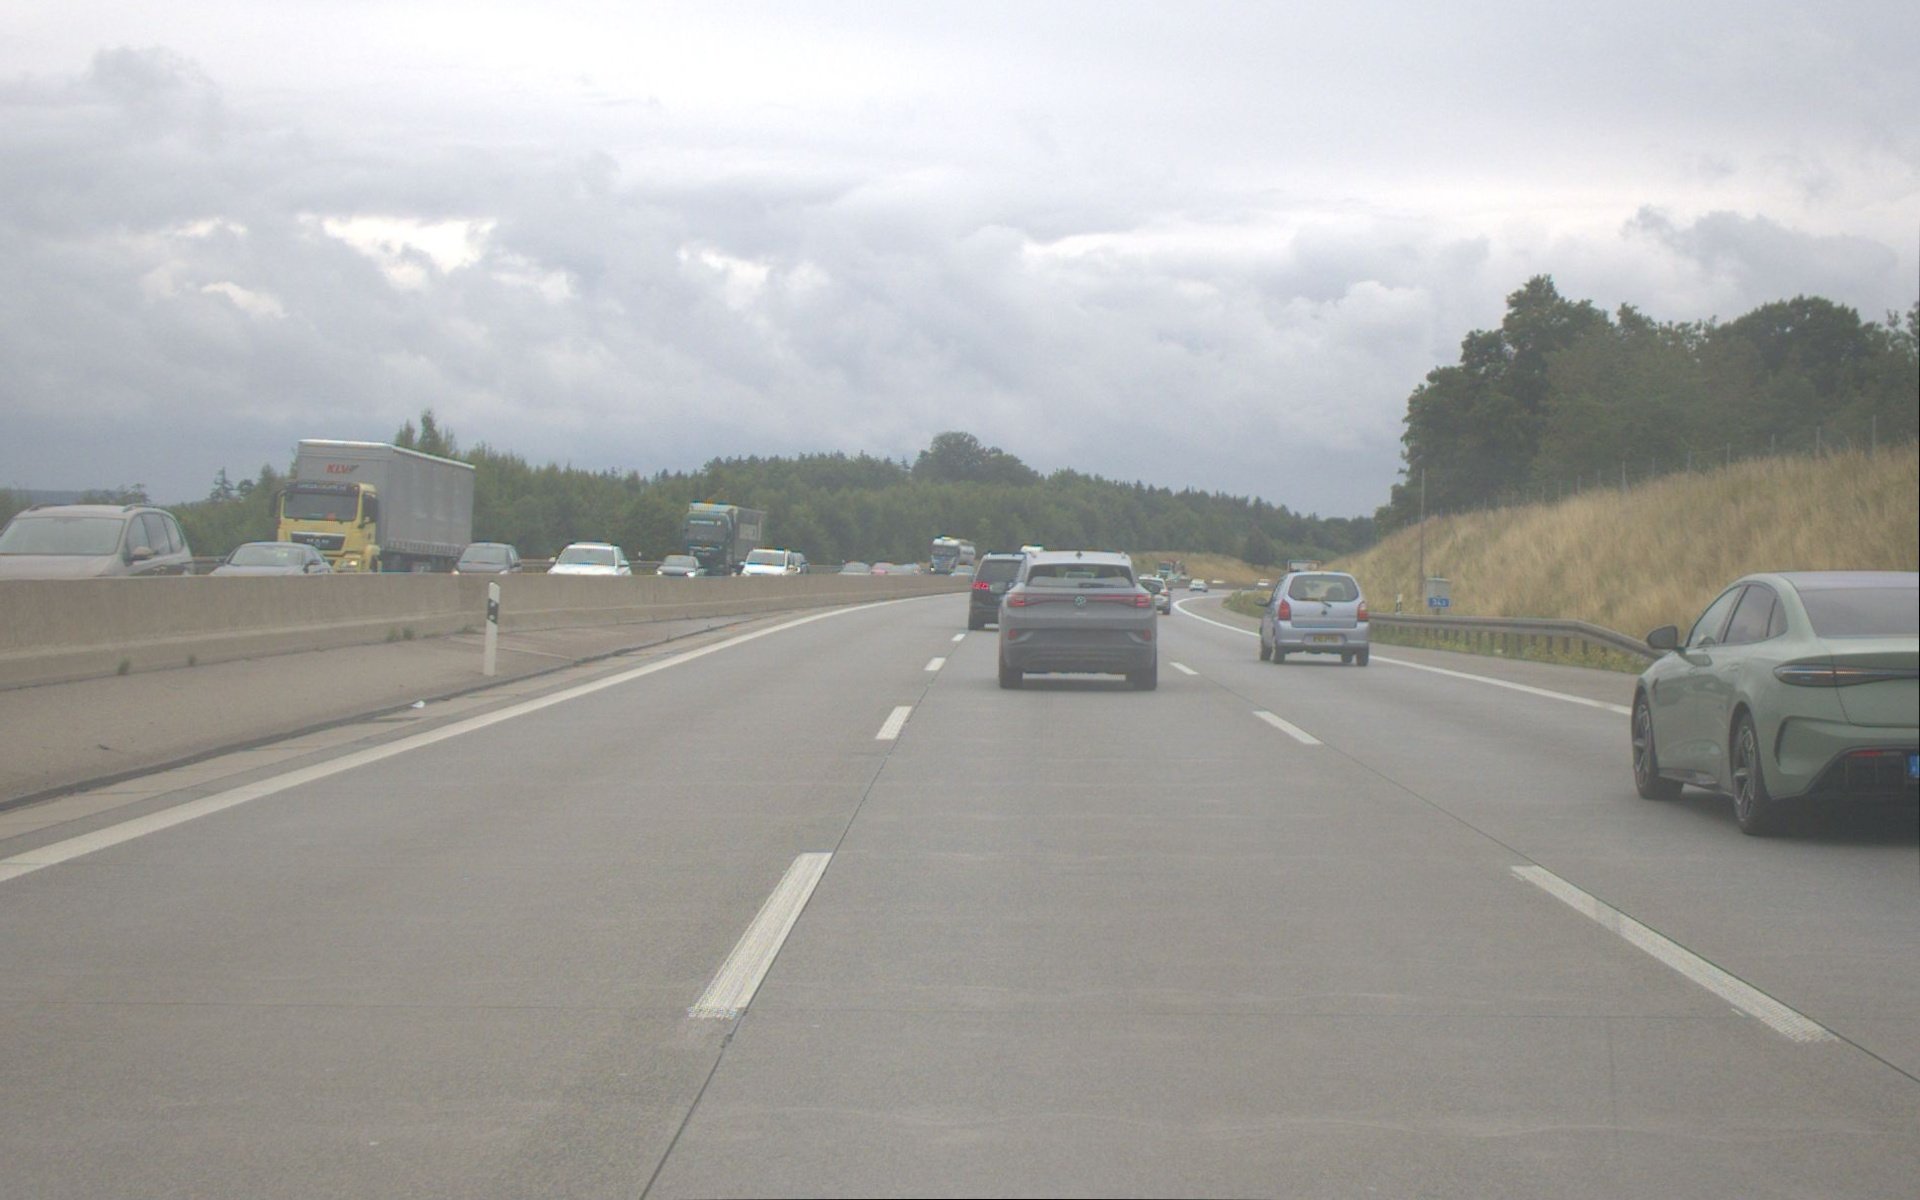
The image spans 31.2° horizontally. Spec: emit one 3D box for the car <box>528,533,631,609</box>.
[{"bbox_3d":[-9.662,-0.754,87.610,2.034,1.861,4.604,1,1,1],"label":"car"}]

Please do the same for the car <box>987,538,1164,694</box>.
[{"bbox_3d":[1.328,0.133,41.491,1.898,1.684,5.267,1,2,-1],"label":"car"}]

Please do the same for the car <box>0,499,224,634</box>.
[{"bbox_3d":[-10.640,-0.459,43.000,1.900,1.574,4.742,1,2,-1],"label":"car"}]

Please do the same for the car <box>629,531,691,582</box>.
[{"bbox_3d":[-12.461,-1.850,143.114,1.914,2.006,5.924,1,2,1],"label":"car"}]

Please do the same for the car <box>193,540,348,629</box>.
[{"bbox_3d":[-13.500,-0.344,67.629,2.034,1.661,5.269,1,1,-1],"label":"car"}]

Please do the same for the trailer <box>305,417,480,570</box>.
[{"bbox_3d":[-16.572,-3.122,101.280,2.918,4.203,11.873,1,2,1],"label":"trailer"}]

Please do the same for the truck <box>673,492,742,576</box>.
[{"bbox_3d":[-13.595,-3.588,185.336,2.789,4.248,6.049,4,2,2],"label":"truck"}]

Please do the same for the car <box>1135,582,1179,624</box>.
[{"bbox_3d":[7.742,0.106,135.411,1.485,1.465,3.504,3,2,1],"label":"car"}]

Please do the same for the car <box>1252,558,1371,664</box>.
[{"bbox_3d":[5.483,0.150,53.940,1.485,1.465,3.504,3,2,1],"label":"car"}]

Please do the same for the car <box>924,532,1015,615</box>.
[{"bbox_3d":[0.236,-0.607,75.810,1.785,1.741,3.915,1,2,3],"label":"car"}]

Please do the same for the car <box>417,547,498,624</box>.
[{"bbox_3d":[-13.818,-0.424,94.671,1.645,2.006,4.000,1,2,0],"label":"car"}]

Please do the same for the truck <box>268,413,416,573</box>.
[{"bbox_3d":[-16.694,-2.896,93.249,2.931,4.166,5.858,1,2,0],"label":"truck"}]

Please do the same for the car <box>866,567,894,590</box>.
[{"bbox_3d":[-5.679,-1.529,244.618,1.718,1.503,4.486,2,-1,2],"label":"car"}]

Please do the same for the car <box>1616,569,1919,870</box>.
[{"bbox_3d":[5.278,0.600,20.023,2.014,1.441,4.745,1,2,0],"label":"car"}]
